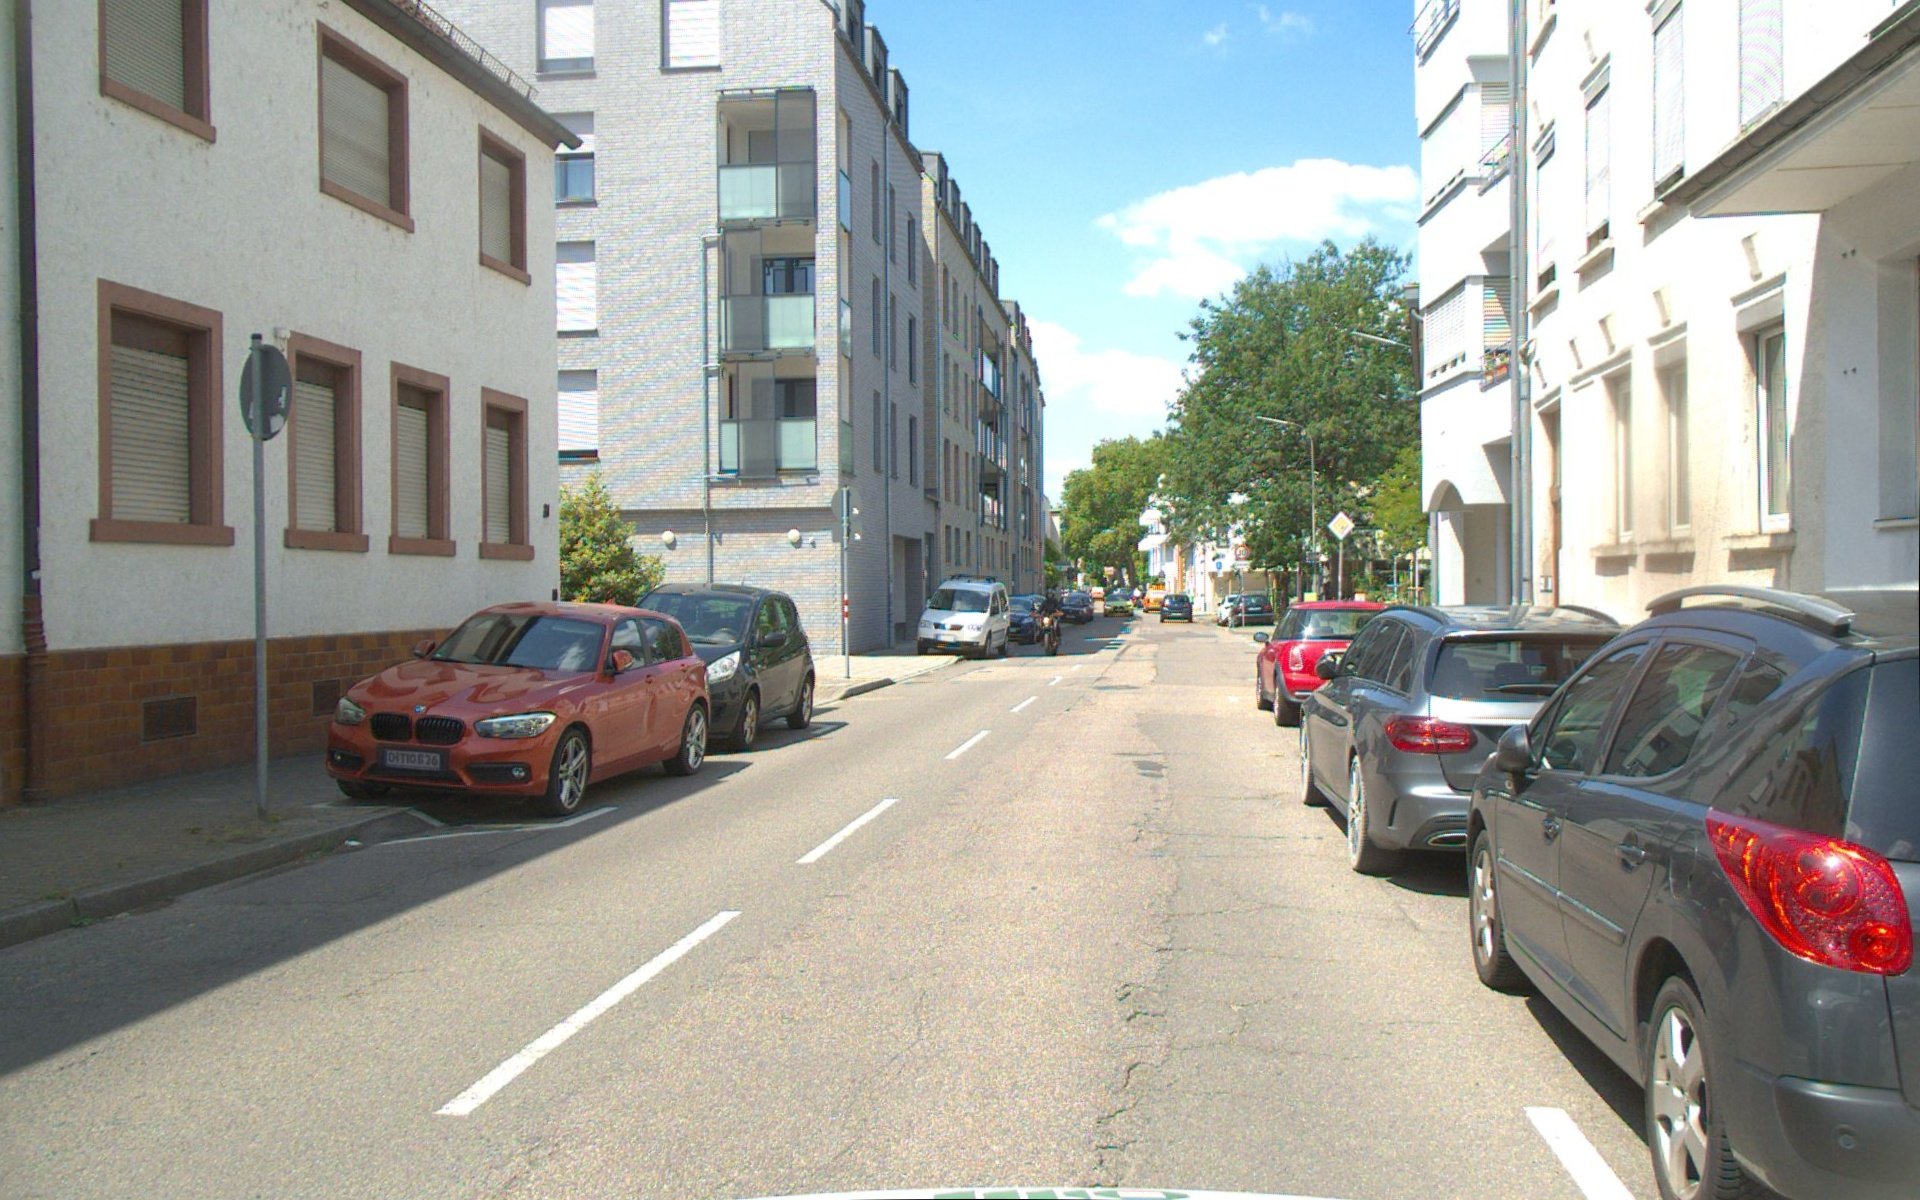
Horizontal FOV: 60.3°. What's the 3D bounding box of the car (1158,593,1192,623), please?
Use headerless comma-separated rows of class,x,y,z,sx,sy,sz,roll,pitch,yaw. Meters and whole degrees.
car,11.201,0.412,86.279,1.679,1.426,4.003,-1,1,7

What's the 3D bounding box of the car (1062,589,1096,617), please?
car,6.738,0.150,93.370,1.695,1.467,4.003,-1,0,6

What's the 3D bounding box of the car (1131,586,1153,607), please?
car,15.412,-0.304,140.071,1.675,1.662,3.706,-1,0,5

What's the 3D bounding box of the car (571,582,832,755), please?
car,-2.680,0.642,18.078,1.756,1.675,3.948,0,0,8

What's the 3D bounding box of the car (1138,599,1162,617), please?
car,17.523,0.729,152.655,1.952,1.646,4.002,-1,0,4

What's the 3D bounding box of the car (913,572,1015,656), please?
car,0.161,0.294,40.813,1.719,1.925,4.340,1,1,11

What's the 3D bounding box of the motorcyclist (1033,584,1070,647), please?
motorcyclist,2.298,0.387,41.547,0.805,1.535,1.057,-1,0,8

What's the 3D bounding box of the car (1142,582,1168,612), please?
car,13.992,-0.246,118.683,1.800,2.049,4.003,-1,1,7

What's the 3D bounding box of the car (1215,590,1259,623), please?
car,12.779,0.273,76.463,1.741,1.445,4.003,-1,0,6

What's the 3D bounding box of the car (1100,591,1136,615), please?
car,10.043,0.178,104.973,1.951,1.405,4.396,1,1,9

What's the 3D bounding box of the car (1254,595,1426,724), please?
car,4.583,0.663,20.362,1.584,1.409,3.541,-1,0,5

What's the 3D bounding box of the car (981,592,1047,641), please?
car,1.779,0.499,53.103,1.686,1.481,4.008,0,0,8

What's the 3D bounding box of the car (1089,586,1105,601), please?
car,18.768,-0.900,226.640,2.111,2.049,4.003,-1,0,6

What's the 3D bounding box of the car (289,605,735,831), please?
car,-3.304,0.799,13.180,1.794,1.441,4.293,-1,0,9

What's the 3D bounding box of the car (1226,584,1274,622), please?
car,12.272,0.114,70.229,1.656,1.444,4.003,-4,0,6

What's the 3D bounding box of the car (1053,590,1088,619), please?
car,5.923,0.229,88.269,1.695,1.467,4.003,-1,0,6

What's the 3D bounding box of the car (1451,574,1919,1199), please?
car,2.715,0.695,5.087,1.673,1.534,4.003,-1,0,7

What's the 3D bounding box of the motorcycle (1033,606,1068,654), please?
motorcycle,2.276,0.731,41.437,0.673,1.142,2.029,-1,0,8

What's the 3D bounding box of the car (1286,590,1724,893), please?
car,3.085,0.684,10.301,1.692,1.445,4.548,-1,0,7
